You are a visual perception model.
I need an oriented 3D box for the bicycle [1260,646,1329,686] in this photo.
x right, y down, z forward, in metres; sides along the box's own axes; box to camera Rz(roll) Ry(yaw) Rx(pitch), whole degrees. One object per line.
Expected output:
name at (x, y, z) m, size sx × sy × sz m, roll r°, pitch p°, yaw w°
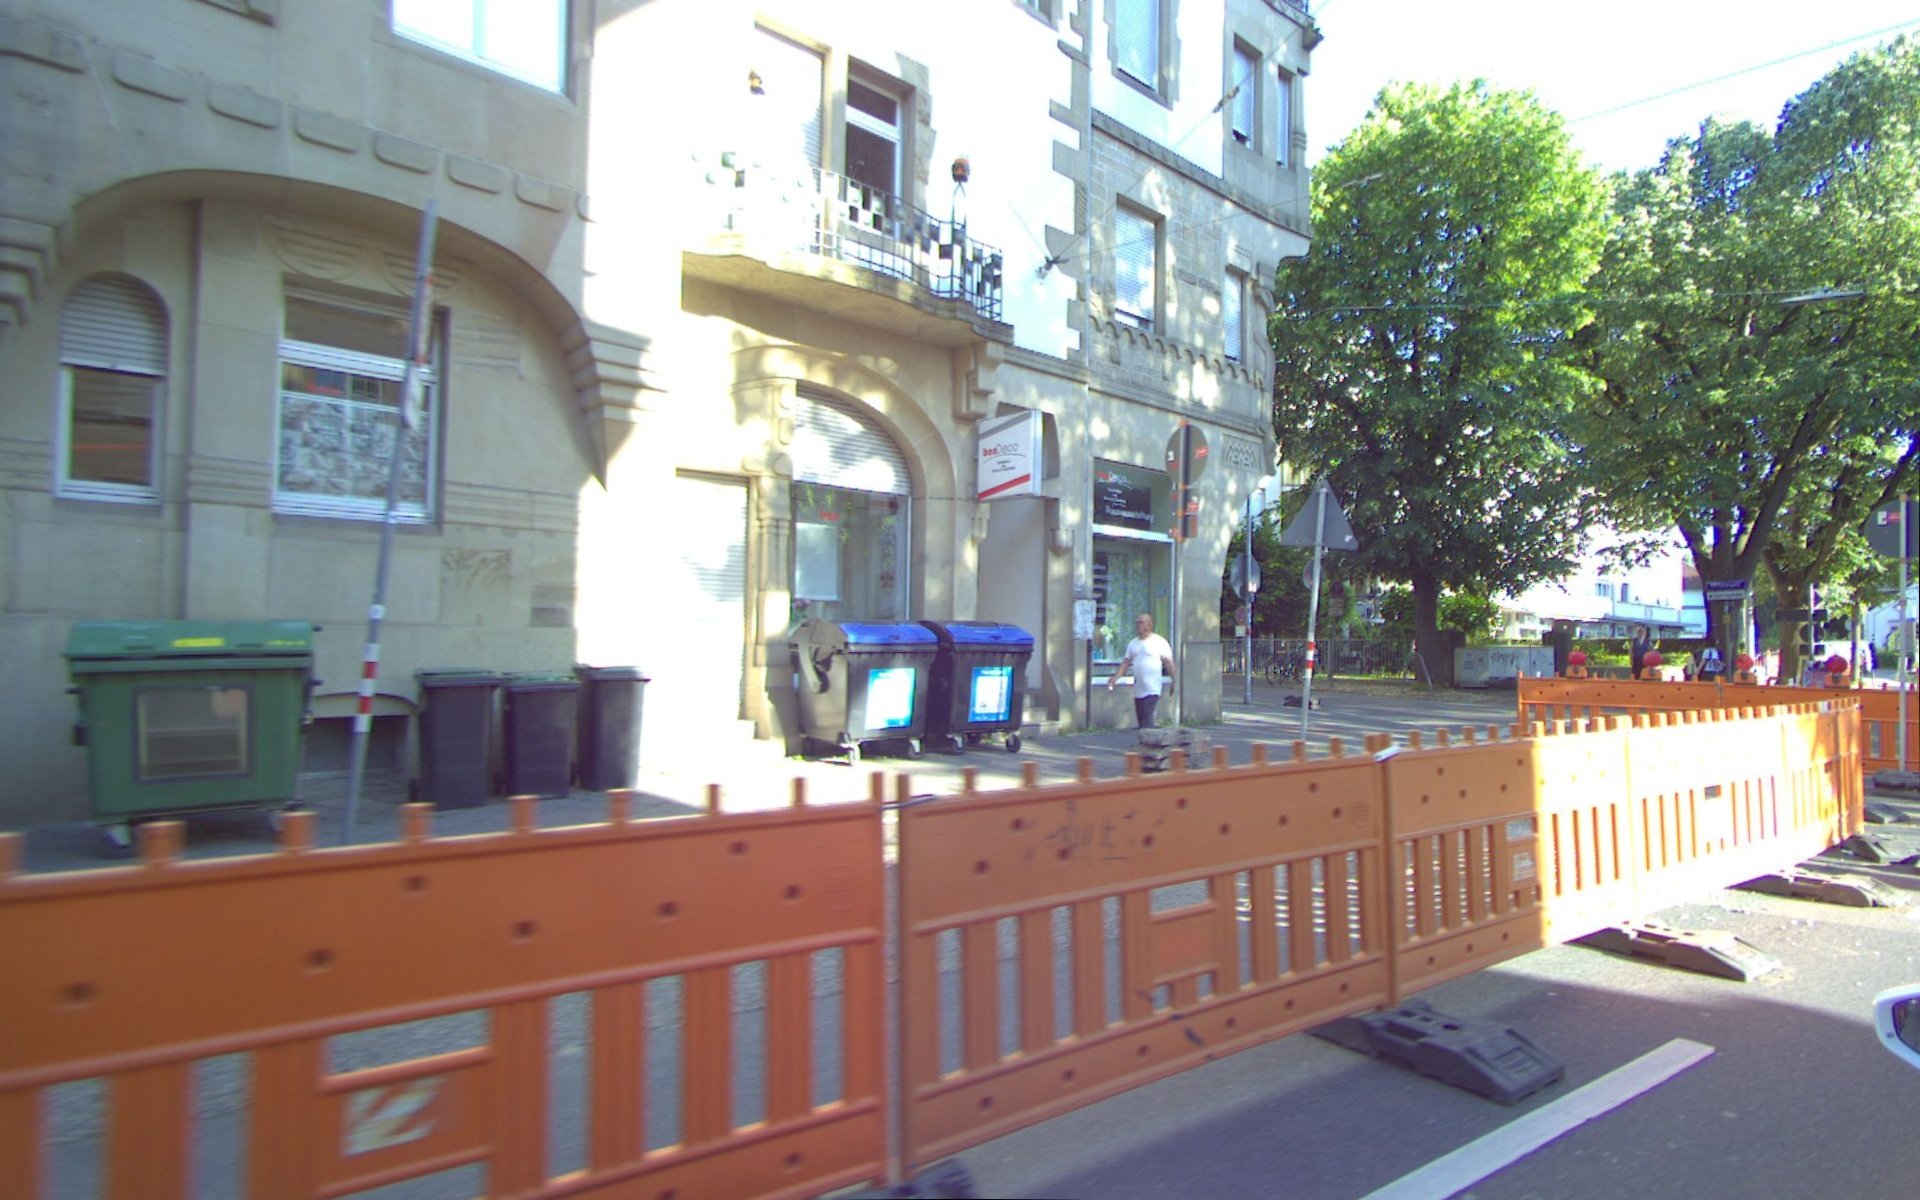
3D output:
bicycle at (9.530, 1.875, 28.621) m, size 1.909 × 1.091 × 0.743 m, roll 2°, pitch -1°, yaw -28°

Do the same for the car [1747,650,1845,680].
car at (46.219, 3.563, 55.586) m, size 1.986 × 1.498 × 3.953 m, roll 2°, pitch -2°, yaw -43°

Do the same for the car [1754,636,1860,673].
car at (48.265, 3.086, 57.301) m, size 1.981 × 1.876 × 4.283 m, roll 2°, pitch -1°, yaw -36°

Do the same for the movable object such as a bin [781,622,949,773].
movable object such as a bin at (-0.998, 0.982, 10.654) m, size 1.397 × 1.450 × 1.072 m, roll 2°, pitch -1°, yaw -43°

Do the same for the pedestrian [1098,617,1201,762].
pedestrian at (2.252, 1.024, 11.906) m, size 0.812 × 1.624 × 0.912 m, roll 1°, pitch -1°, yaw 44°

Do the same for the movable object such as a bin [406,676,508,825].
movable object such as a bin at (-3.927, 1.143, 7.839) m, size 0.583 × 1.055 × 0.631 m, roll 2°, pitch -1°, yaw -37°

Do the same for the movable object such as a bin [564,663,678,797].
movable object such as a bin at (-2.948, 1.095, 8.723) m, size 0.757 × 1.055 × 0.631 m, roll 2°, pitch -1°, yaw -38°

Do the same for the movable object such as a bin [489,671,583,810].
movable object such as a bin at (-3.468, 1.117, 8.206) m, size 0.551 × 1.037 × 0.631 m, roll 2°, pitch -1°, yaw -37°

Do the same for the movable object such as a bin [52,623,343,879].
movable object such as a bin at (-4.970, 0.901, 6.638) m, size 1.394 × 1.450 × 1.074 m, roll 2°, pitch -1°, yaw -37°

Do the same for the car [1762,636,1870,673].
car at (50.406, 3.166, 59.210) m, size 2.101 × 1.991 × 4.626 m, roll 2°, pitch -1°, yaw -41°

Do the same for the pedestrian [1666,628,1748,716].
pedestrian at (15.918, 1.508, 21.408) m, size 1.178 × 1.804 × 1.038 m, roll 2°, pitch -2°, yaw -31°

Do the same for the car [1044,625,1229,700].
car at (3.980, 1.384, 23.193) m, size 1.982 × 1.572 × 3.958 m, roll 2°, pitch -3°, yaw -37°

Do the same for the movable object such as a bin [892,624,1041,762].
movable object such as a bin at (0.078, 1.026, 11.575) m, size 1.336 × 1.450 × 1.072 m, roll 2°, pitch -1°, yaw -43°
